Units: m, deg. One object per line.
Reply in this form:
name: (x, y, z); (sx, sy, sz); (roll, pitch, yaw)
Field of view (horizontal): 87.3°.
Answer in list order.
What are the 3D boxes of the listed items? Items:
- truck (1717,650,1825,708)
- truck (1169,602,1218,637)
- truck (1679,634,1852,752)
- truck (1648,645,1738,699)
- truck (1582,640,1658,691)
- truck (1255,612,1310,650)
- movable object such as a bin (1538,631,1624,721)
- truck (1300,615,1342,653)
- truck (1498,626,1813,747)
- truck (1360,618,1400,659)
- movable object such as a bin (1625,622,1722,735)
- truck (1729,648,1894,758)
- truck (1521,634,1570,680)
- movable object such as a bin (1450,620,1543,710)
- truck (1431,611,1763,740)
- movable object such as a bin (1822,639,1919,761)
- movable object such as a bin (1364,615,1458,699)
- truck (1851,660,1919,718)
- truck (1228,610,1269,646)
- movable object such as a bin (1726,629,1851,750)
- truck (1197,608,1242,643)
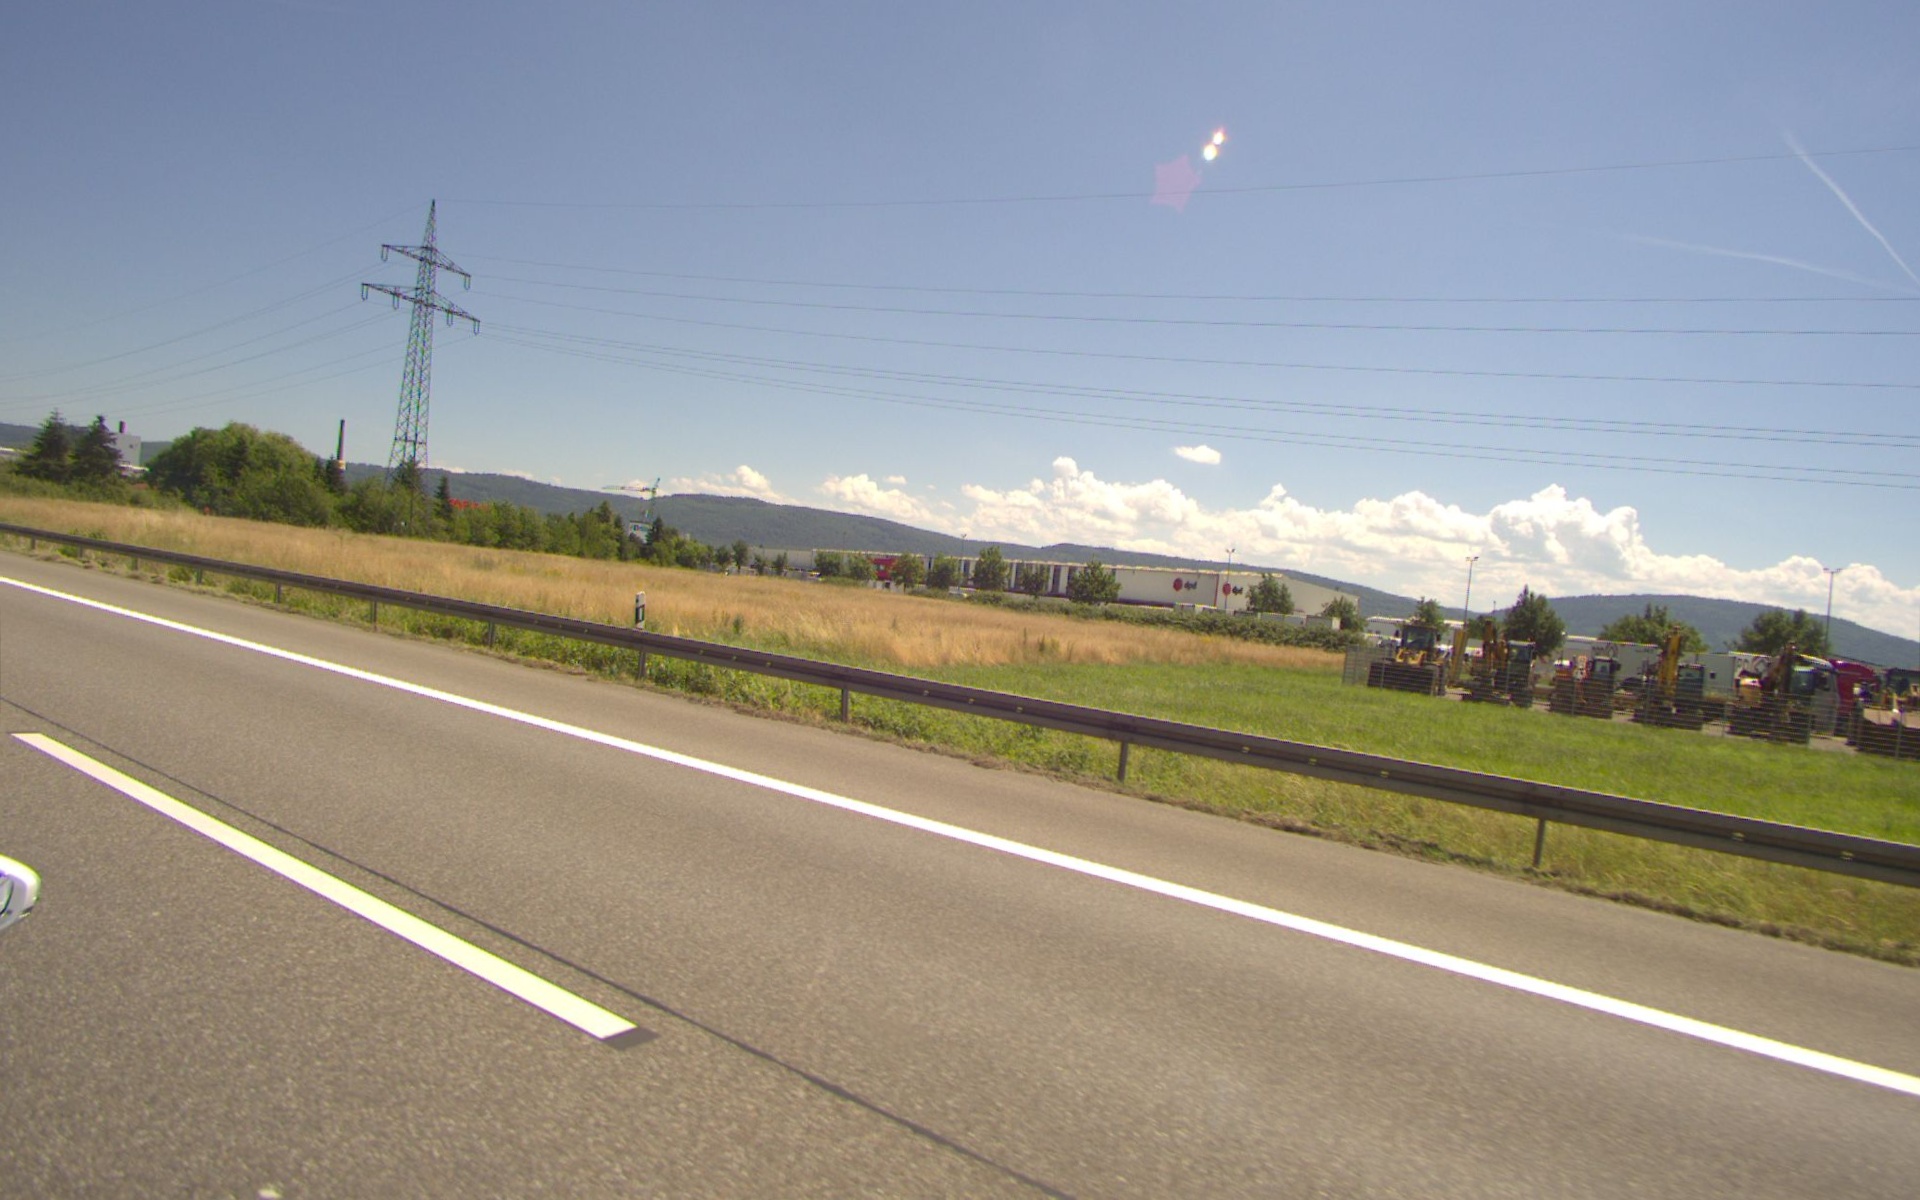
truck: (58.153, 5.560, 72.412); (2.783, 3.455, 8.172); (6, 1, 16)
truck: (27.182, 2.295, 116.796); (2.783, 3.455, 8.151); (7, 1, 32)
truck: (39.077, 4.467, 49.117); (5.886, 4.828, 3.049); (6, -1, 33)
truck: (55.484, 5.359, 76.375); (2.586, 3.455, 8.172); (6, 1, 16)
truck: (52.628, 5.139, 80.480); (2.480, 3.455, 8.172); (6, 1, 16)
truck: (34.085, 3.279, 105.989); (2.786, 3.455, 8.143); (7, 1, 36)
movable object such as a bin: (28.930, 3.641, 46.738); (2.835, 3.502, 8.106); (6, -2, 34)
truck: (36.777, 3.494, 102.325); (2.708, 3.455, 8.161); (7, 1, 26)
truck: (38.622, 4.710, 56.832); (13.906, 4.828, 3.049); (6, -2, 33)
truck: (40.003, 3.719, 95.674); (2.708, 3.455, 8.161); (7, 1, 26)
movable object such as a bin: (31.812, 3.622, 45.113); (2.835, 4.346, 8.106); (6, -2, 34)
truck: (44.524, 5.343, 52.882); (5.886, 4.828, 3.049); (6, -1, 33)
truck: (49.694, 4.783, 85.570); (2.708, 3.455, 8.161); (7, 1, 26)
movable object such as a bin: (25.255, 3.166, 47.145); (2.835, 3.502, 8.106); (6, -2, 34)
truck: (33.015, 3.817, 53.151); (14.093, 4.828, 3.049); (6, -2, 33)
movable object such as a bin: (37.934, 4.194, 40.643); (3.297, 4.346, 8.106); (6, -2, 34)
movable object such as a bin: (22.895, 2.960, 50.782); (2.835, 3.502, 7.577); (6, -2, 34)
truck: (62.792, 5.932, 66.136); (2.783, 3.455, 8.172); (6, 1, 16)
truck: (31.553, 3.091, 109.801); (2.779, 3.455, 8.164); (6, 1, 25)
movable object such as a bin: (34.861, 3.863, 42.664); (2.835, 4.346, 8.106); (6, -2, 34)
truck: (29.199, 2.898, 112.890); (2.780, 3.455, 8.159); (7, 1, 27)
